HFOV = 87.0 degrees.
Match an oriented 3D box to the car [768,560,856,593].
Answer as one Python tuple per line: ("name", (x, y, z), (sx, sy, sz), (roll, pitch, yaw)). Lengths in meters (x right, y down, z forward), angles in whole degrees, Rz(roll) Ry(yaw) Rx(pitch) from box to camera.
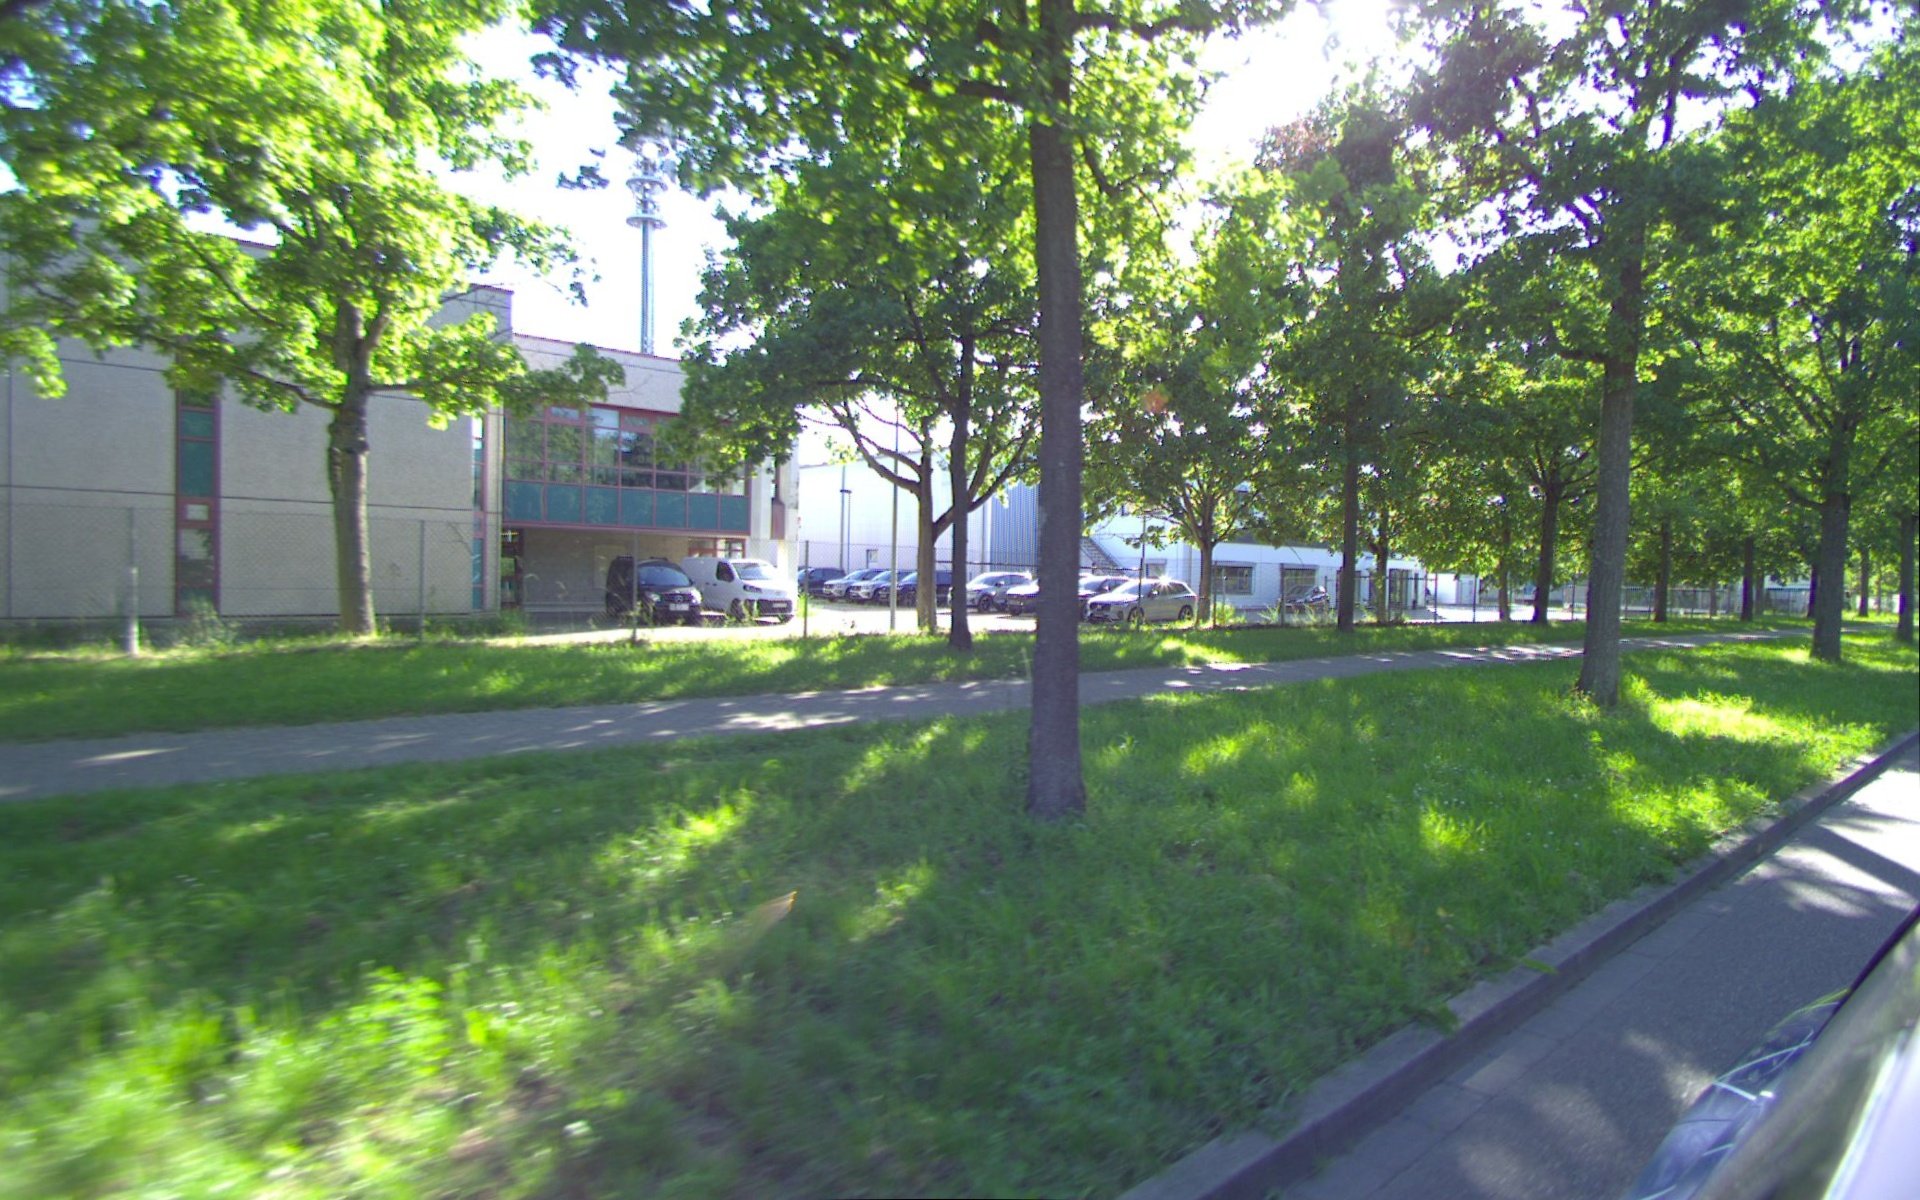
("car", (-7.717, -1.206, 52.847), (4.263, 1.694, 1.743), (-1, 0, -35))

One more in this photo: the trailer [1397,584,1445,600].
("trailer", (40.061, -0.693, 88.038), (1.694, 1.282, 3.604), (1, 2, -22))

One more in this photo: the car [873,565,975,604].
("car", (-1.583, -0.678, 45.422), (4.371, 1.677, 1.700), (-1, 0, -35))

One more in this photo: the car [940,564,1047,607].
("car", (1.432, -0.585, 41.693), (1.994, 1.694, 4.385), (0, 1, 45))

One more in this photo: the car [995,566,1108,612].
("car", (3.638, -0.427, 39.781), (4.380, 1.694, 1.997), (0, 2, -42))

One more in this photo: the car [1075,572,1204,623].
("car", (6.310, -0.137, 35.261), (4.636, 1.626, 1.997), (-1, 3, -42))

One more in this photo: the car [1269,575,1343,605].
("car", (18.130, -0.533, 52.968), (4.083, 1.525, 1.720), (-1, 1, -38))

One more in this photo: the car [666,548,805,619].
("car", (-7.121, -0.586, 31.730), (1.864, 1.983, 5.067), (0, 3, -44))

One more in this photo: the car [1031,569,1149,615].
("car", (4.893, -0.296, 37.733), (4.380, 1.578, 1.997), (0, 2, -42))

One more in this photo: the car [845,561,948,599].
("car", (-2.926, -0.907, 47.336), (4.630, 1.694, 1.707), (-1, 0, -35))

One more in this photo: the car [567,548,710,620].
("car", (-9.474, -0.533, 29.573), (1.967, 1.907, 4.951), (0, 3, -44))

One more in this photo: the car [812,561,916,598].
("car", (-4.622, -0.972, 49.193), (4.879, 1.694, 1.741), (-1, 1, -38))
